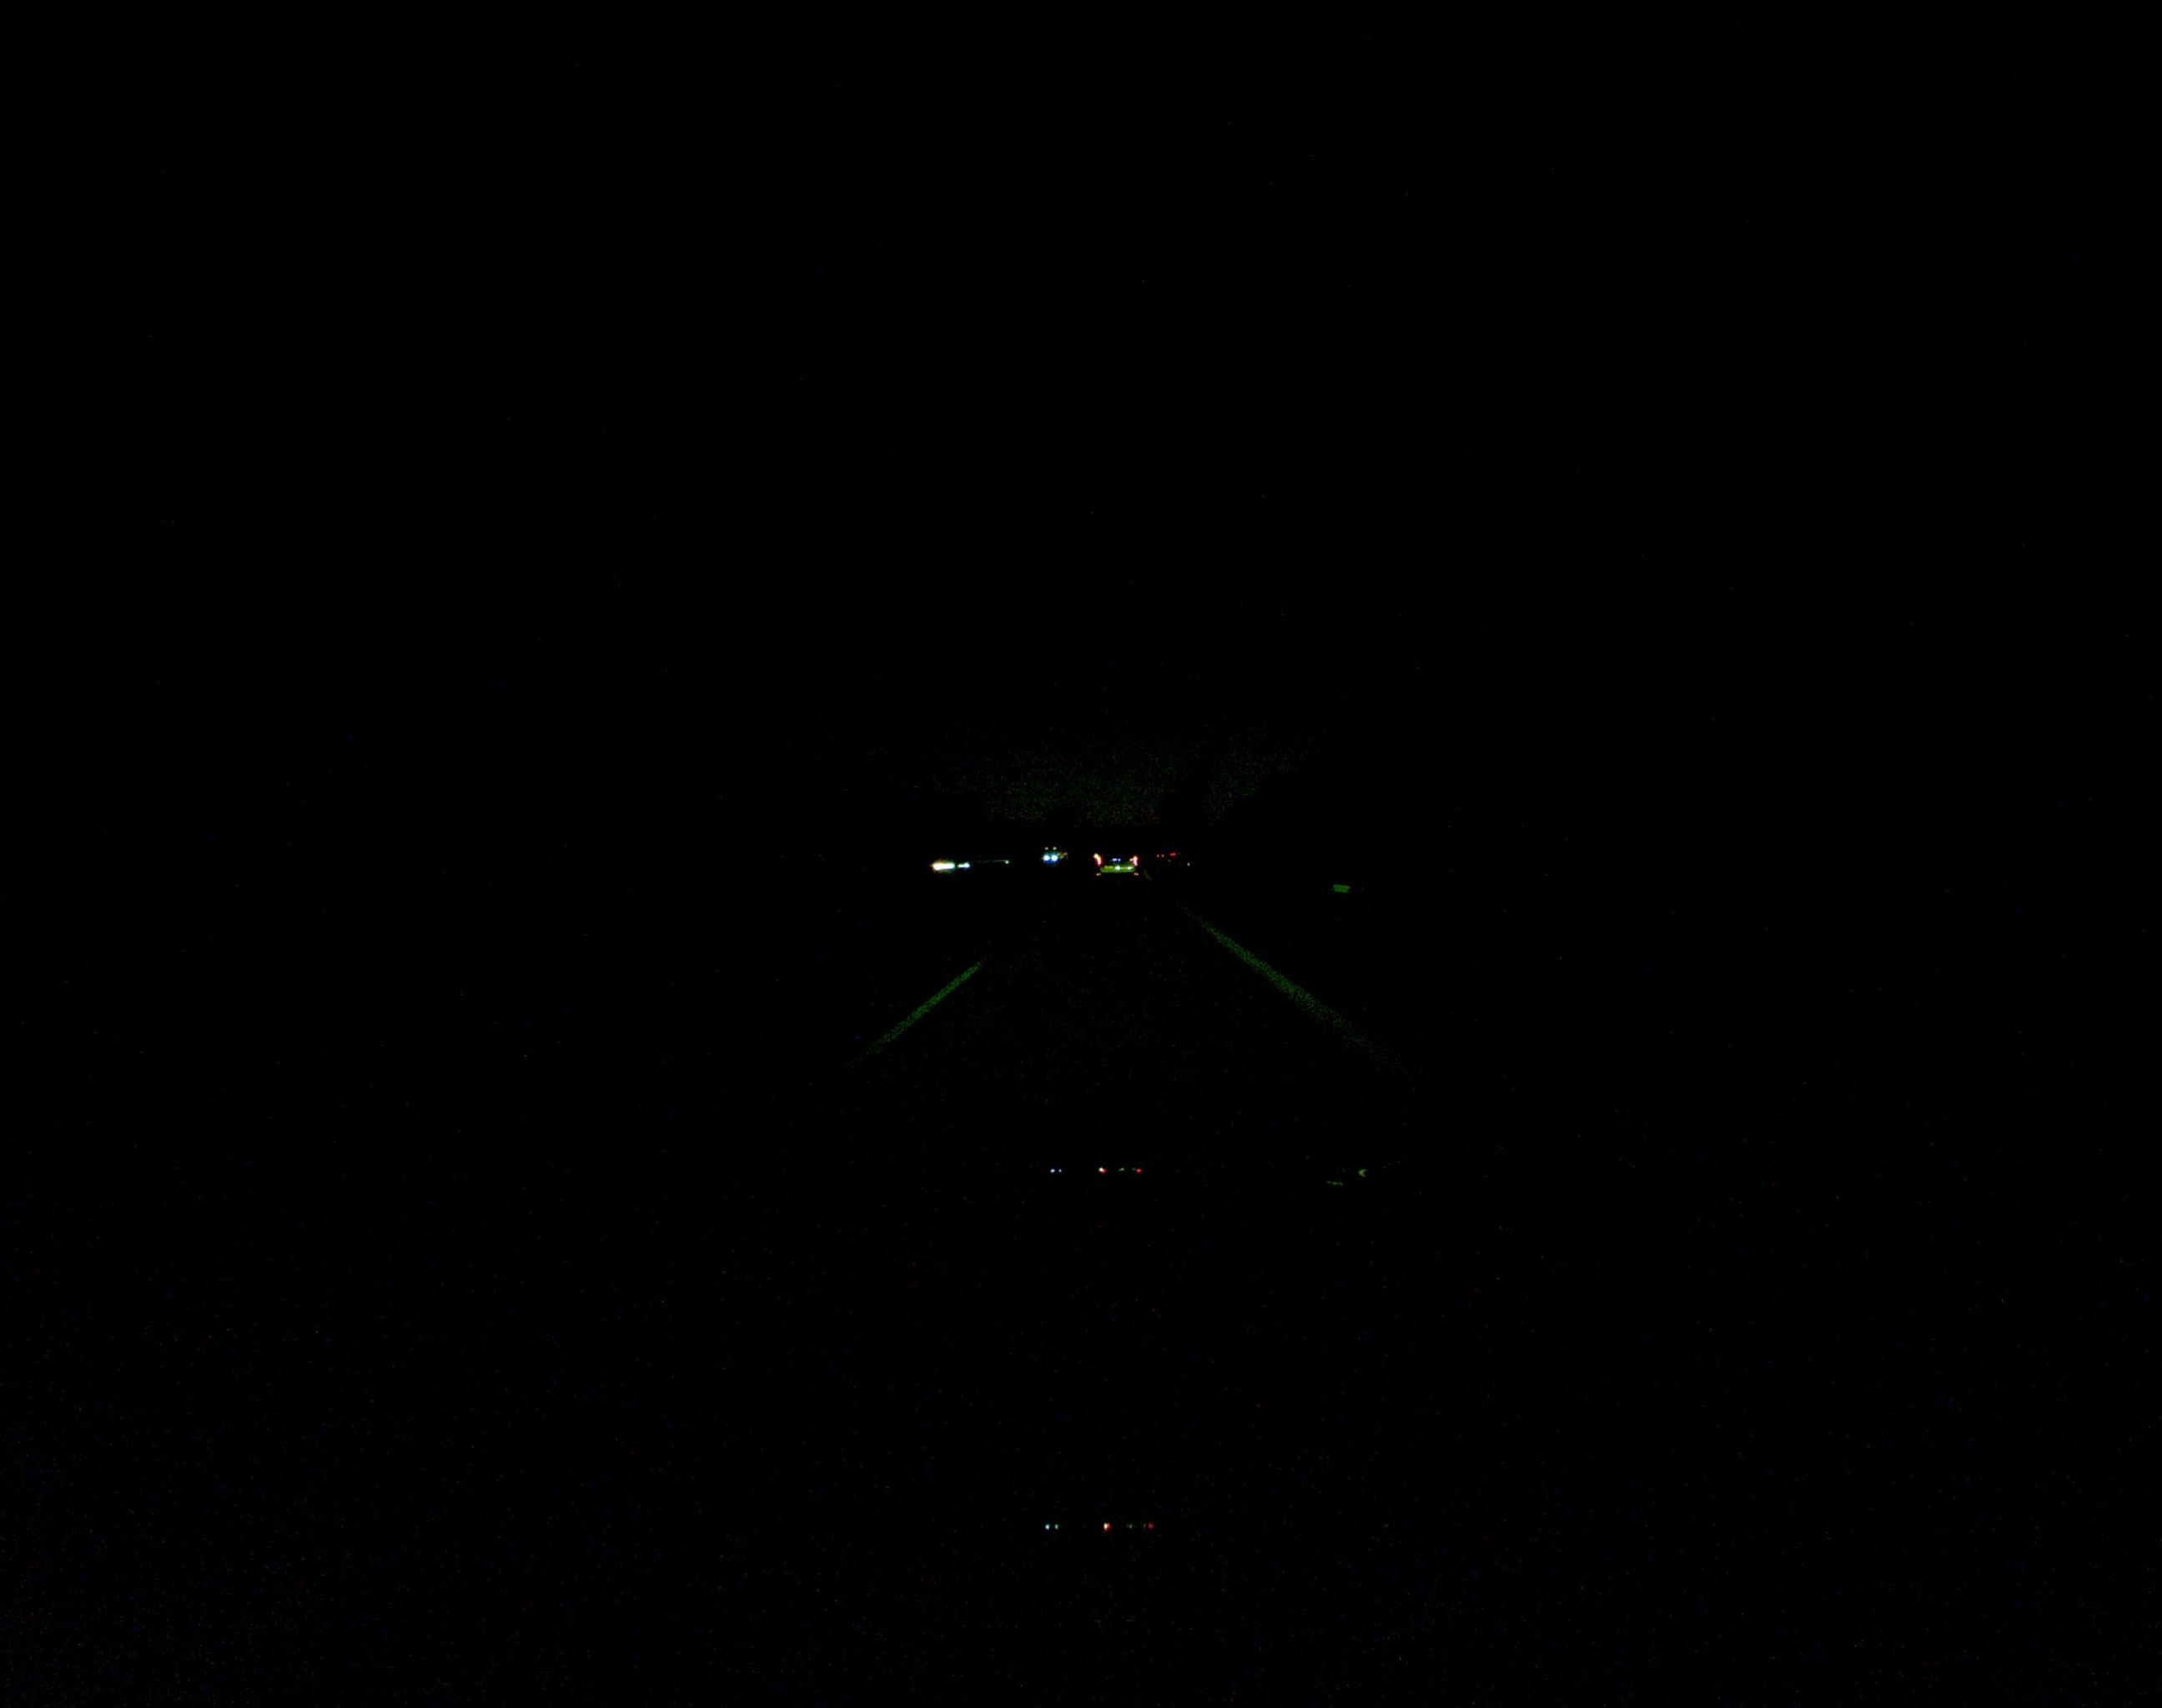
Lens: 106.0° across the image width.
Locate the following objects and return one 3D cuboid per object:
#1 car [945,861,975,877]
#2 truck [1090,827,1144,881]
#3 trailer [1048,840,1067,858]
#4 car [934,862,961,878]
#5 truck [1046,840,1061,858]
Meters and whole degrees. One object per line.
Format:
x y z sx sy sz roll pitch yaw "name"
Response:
-11.495 1.398 77.395 1.985 1.468 4.212 -1 -1 3 "car"
1.959 0.037 44.691 2.620 2.624 8.690 -1 -1 3 "truck"
-5.880 -1.134 205.959 2.675 4.218 17.278 -1 -1 5 "trailer"
-14.551 1.691 89.156 1.986 1.650 4.402 -1 -1 2 "car"
-6.651 -1.189 197.953 2.700 4.199 5.429 -1 -1 6 "truck"
